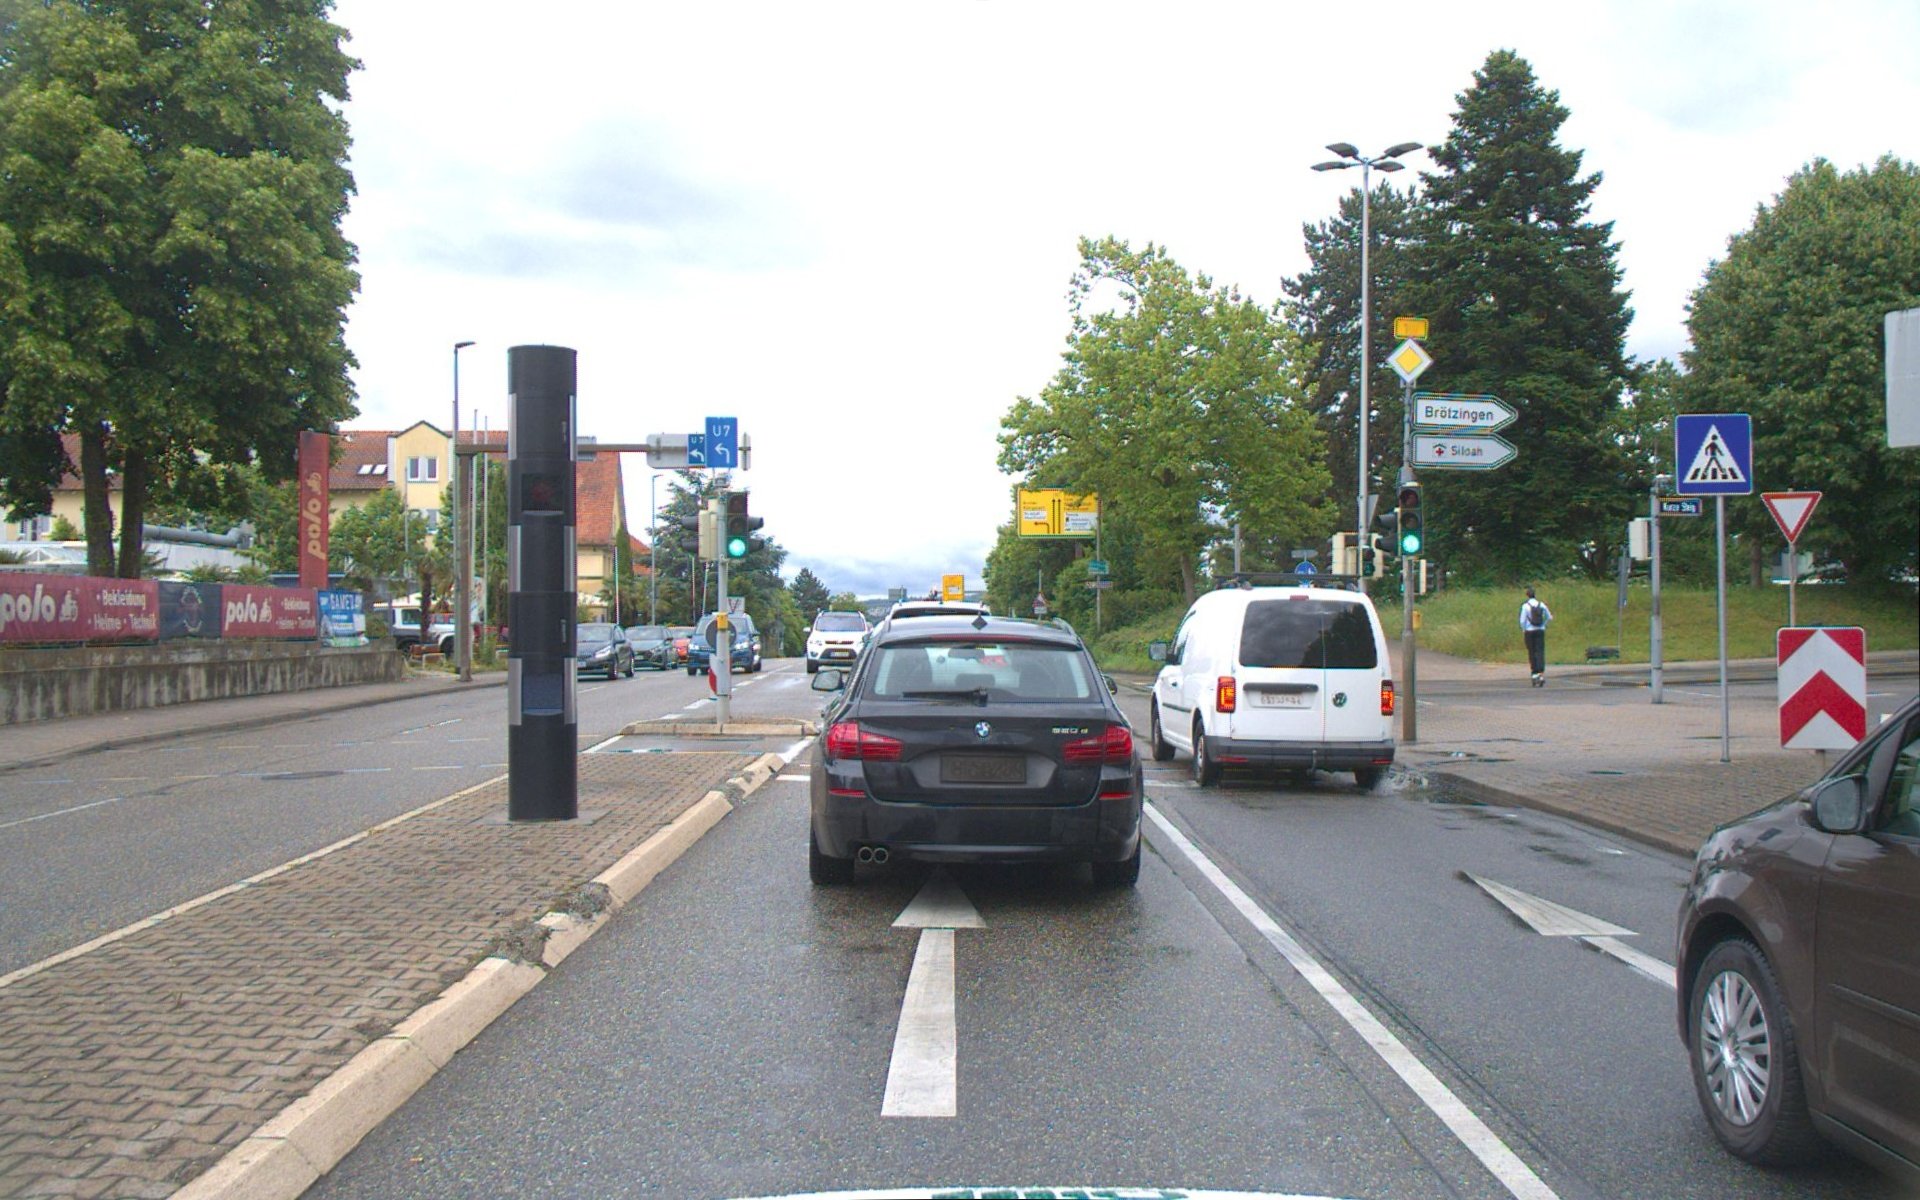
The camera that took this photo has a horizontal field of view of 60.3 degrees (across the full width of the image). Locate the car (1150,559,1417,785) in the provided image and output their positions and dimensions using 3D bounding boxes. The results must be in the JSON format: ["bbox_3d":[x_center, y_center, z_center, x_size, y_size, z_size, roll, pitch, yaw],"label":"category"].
[{"bbox_3d":[2.974,0.612,15.975,1.729,1.910,3.804,1,0,-2],"label":"car"}]

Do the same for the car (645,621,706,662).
[{"bbox_3d":[-10.247,1.489,59.741,1.590,1.355,3.945,-1,0,-2],"label":"car"}]

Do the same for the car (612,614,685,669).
[{"bbox_3d":[-10.062,1.314,53.618,1.642,1.646,3.999,-1,0,-1],"label":"car"}]

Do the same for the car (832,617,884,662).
[{"bbox_3d":[-3.409,1.348,55.971,1.599,1.459,4.142,0,-2,-2],"label":"car"}]

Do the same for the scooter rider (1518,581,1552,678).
[{"bbox_3d":[11.989,0.603,34.500,0.490,2.000,0.547,-1,0,-1],"label":"scooter rider"}]

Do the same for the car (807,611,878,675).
[{"bbox_3d":[-3.253,1.166,46.420,1.802,1.678,4.295,0,0,-2],"label":"car"}]

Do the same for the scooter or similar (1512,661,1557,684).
[{"bbox_3d":[11.992,1.511,34.562,0.477,0.410,1.255,-1,0,-1],"label":"scooter or similar"}]

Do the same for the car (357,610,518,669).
[{"bbox_3d":[-17.827,1.358,56.517,4.942,1.732,1.980,-2,-3,-29],"label":"car"}]

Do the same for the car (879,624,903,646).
[{"bbox_3d":[-5.710,2.904,136.978,1.830,1.703,3.999,1,0,-1],"label":"car"}]

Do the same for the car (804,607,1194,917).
[{"bbox_3d":[0.173,0.823,9.944,1.860,1.467,3.999,1,-1,-1],"label":"car"}]

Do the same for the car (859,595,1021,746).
[{"bbox_3d":[-0.251,0.799,20.893,1.830,1.703,3.999,1,0,-1],"label":"car"}]

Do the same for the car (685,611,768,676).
[{"bbox_3d":[-6.454,1.172,46.095,1.802,1.678,4.295,-2,0,-2],"label":"car"}]

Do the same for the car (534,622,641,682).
[{"bbox_3d":[-9.611,1.320,42.948,1.878,1.403,4.124,-2,0,-1],"label":"car"}]

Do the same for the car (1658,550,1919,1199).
[{"bbox_3d":[3.041,0.709,3.151,1.711,1.637,3.979,1,-1,-1],"label":"car"}]

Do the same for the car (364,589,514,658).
[{"bbox_3d":[-16.974,0.742,53.896,4.339,2.049,1.980,-2,-1,-30],"label":"car"}]
